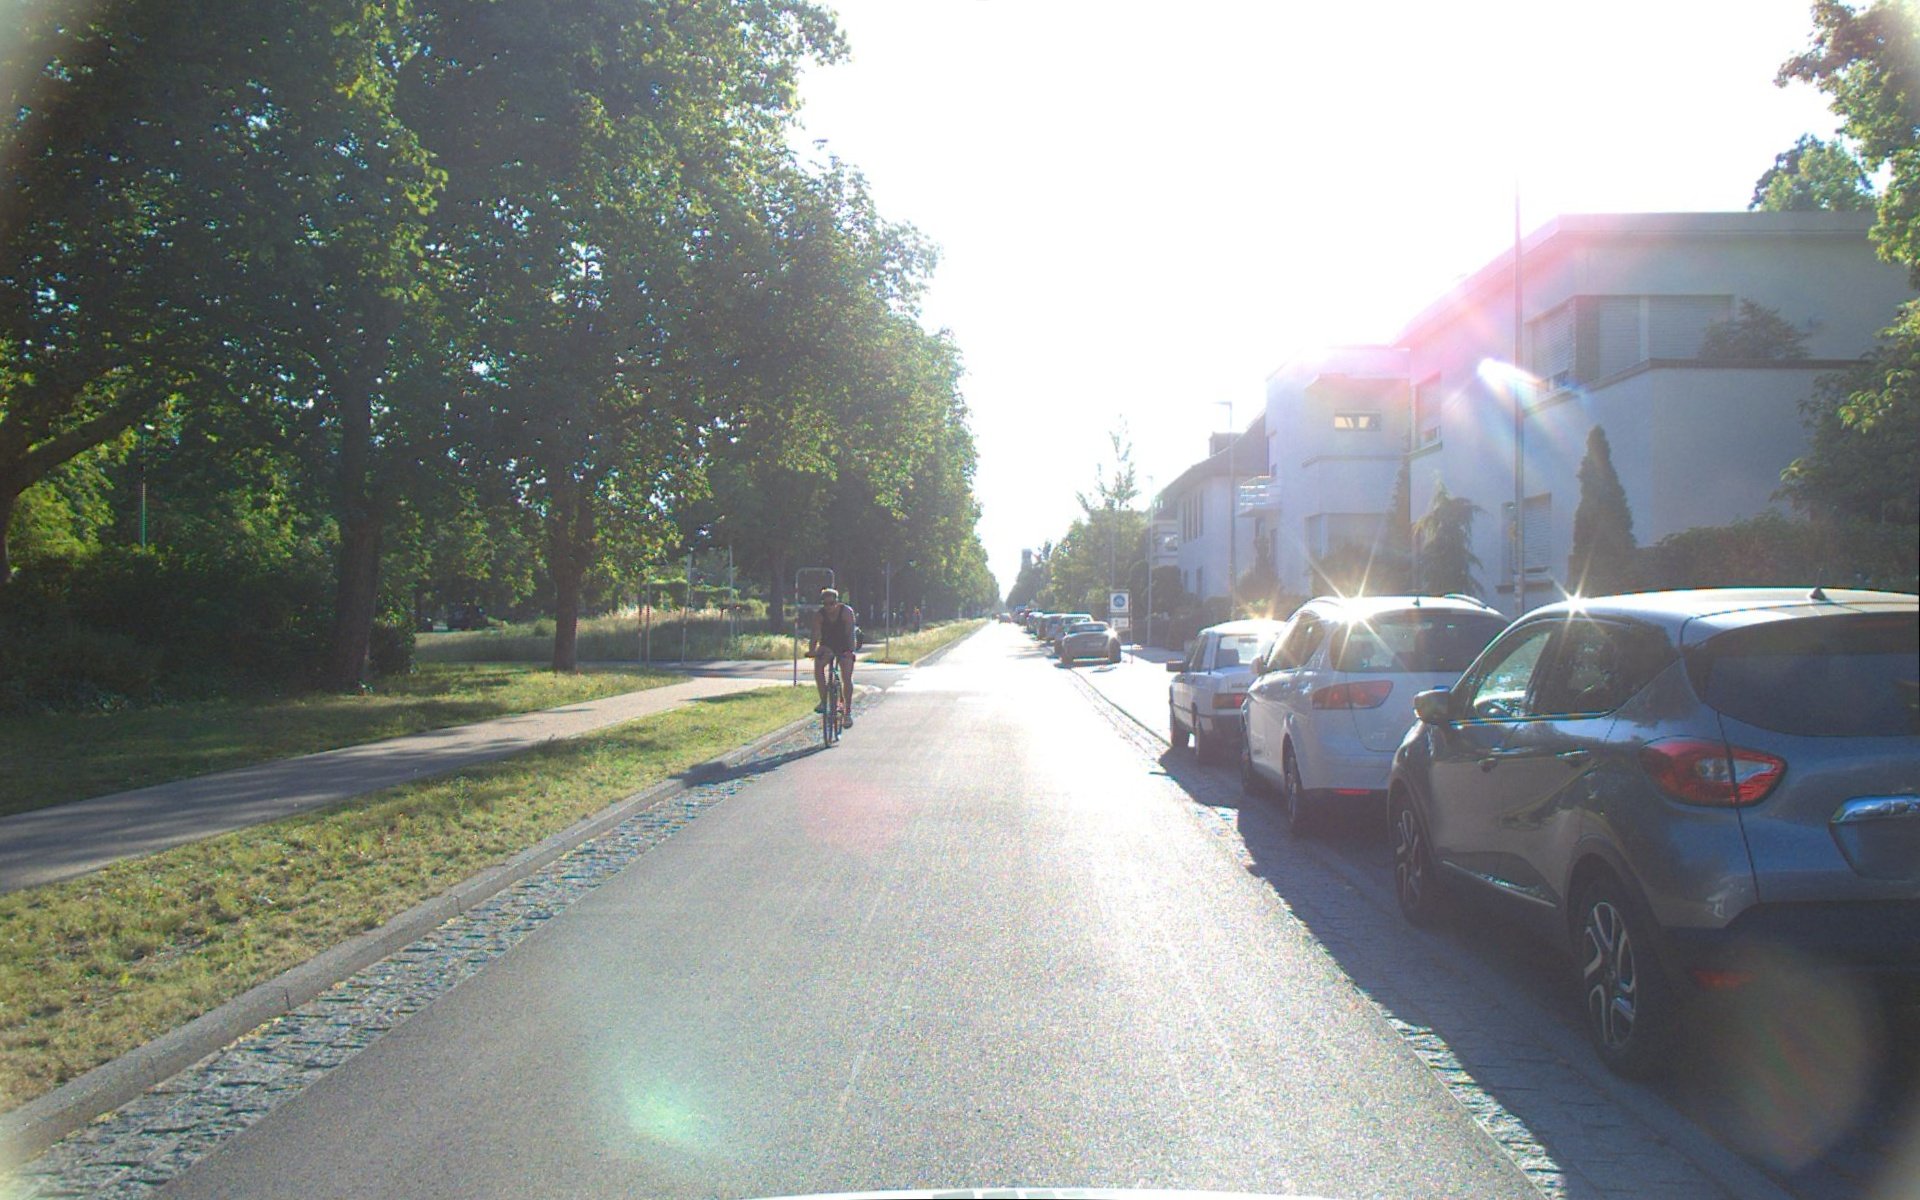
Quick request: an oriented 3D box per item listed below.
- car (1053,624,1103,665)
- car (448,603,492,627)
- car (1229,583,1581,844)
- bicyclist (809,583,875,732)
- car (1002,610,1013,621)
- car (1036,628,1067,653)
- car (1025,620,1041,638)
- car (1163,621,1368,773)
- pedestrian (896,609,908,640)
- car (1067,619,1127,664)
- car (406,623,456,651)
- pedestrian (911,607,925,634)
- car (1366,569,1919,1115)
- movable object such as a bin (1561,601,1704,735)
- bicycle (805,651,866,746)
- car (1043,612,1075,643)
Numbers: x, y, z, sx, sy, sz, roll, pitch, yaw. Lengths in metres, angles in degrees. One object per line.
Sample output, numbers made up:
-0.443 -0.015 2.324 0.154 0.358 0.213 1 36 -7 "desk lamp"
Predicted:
4.703 1.768 66.180 1.708 1.500 3.922 -2 -1 0 "car"
-33.487 1.022 113.152 1.657 1.625 4.221 1 -1 1 "car"
3.083 0.726 12.292 1.643 1.583 4.131 -1 -1 3 "car"
-1.381 0.676 19.542 0.667 1.702 1.172 0 -2 1 "bicyclist"
7.096 2.274 248.403 1.618 1.568 3.267 2 -1 2 "car"
5.664 2.497 102.444 1.701 1.474 4.197 -1 -1 0 "car"
6.798 2.702 154.494 1.467 1.594 3.267 0 -1 3 "car"
3.173 0.948 17.945 1.531 1.414 4.375 -1 -1 2 "car"
-3.476 1.462 99.798 0.611 1.863 0.886 1 -1 5 "pedestrian"
4.495 1.359 54.857 1.738 1.311 4.273 -2 0 2 "car"
-32.984 2.293 103.193 1.657 1.625 4.221 1 -1 1 "car"
-2.544 1.237 100.086 0.766 1.643 0.952 1 -1 5 "pedestrian"
3.005 0.720 6.903 1.644 1.583 4.144 -1 -1 1 "car"
7.646 0.760 18.870 1.211 1.457 1.123 1 -1 3 "movable object such as a bin"
-1.455 1.135 19.551 0.545 1.050 1.915 0 -1 1 "bicycle"
5.149 1.405 86.234 1.594 1.531 3.634 -1 0 2 "car"
